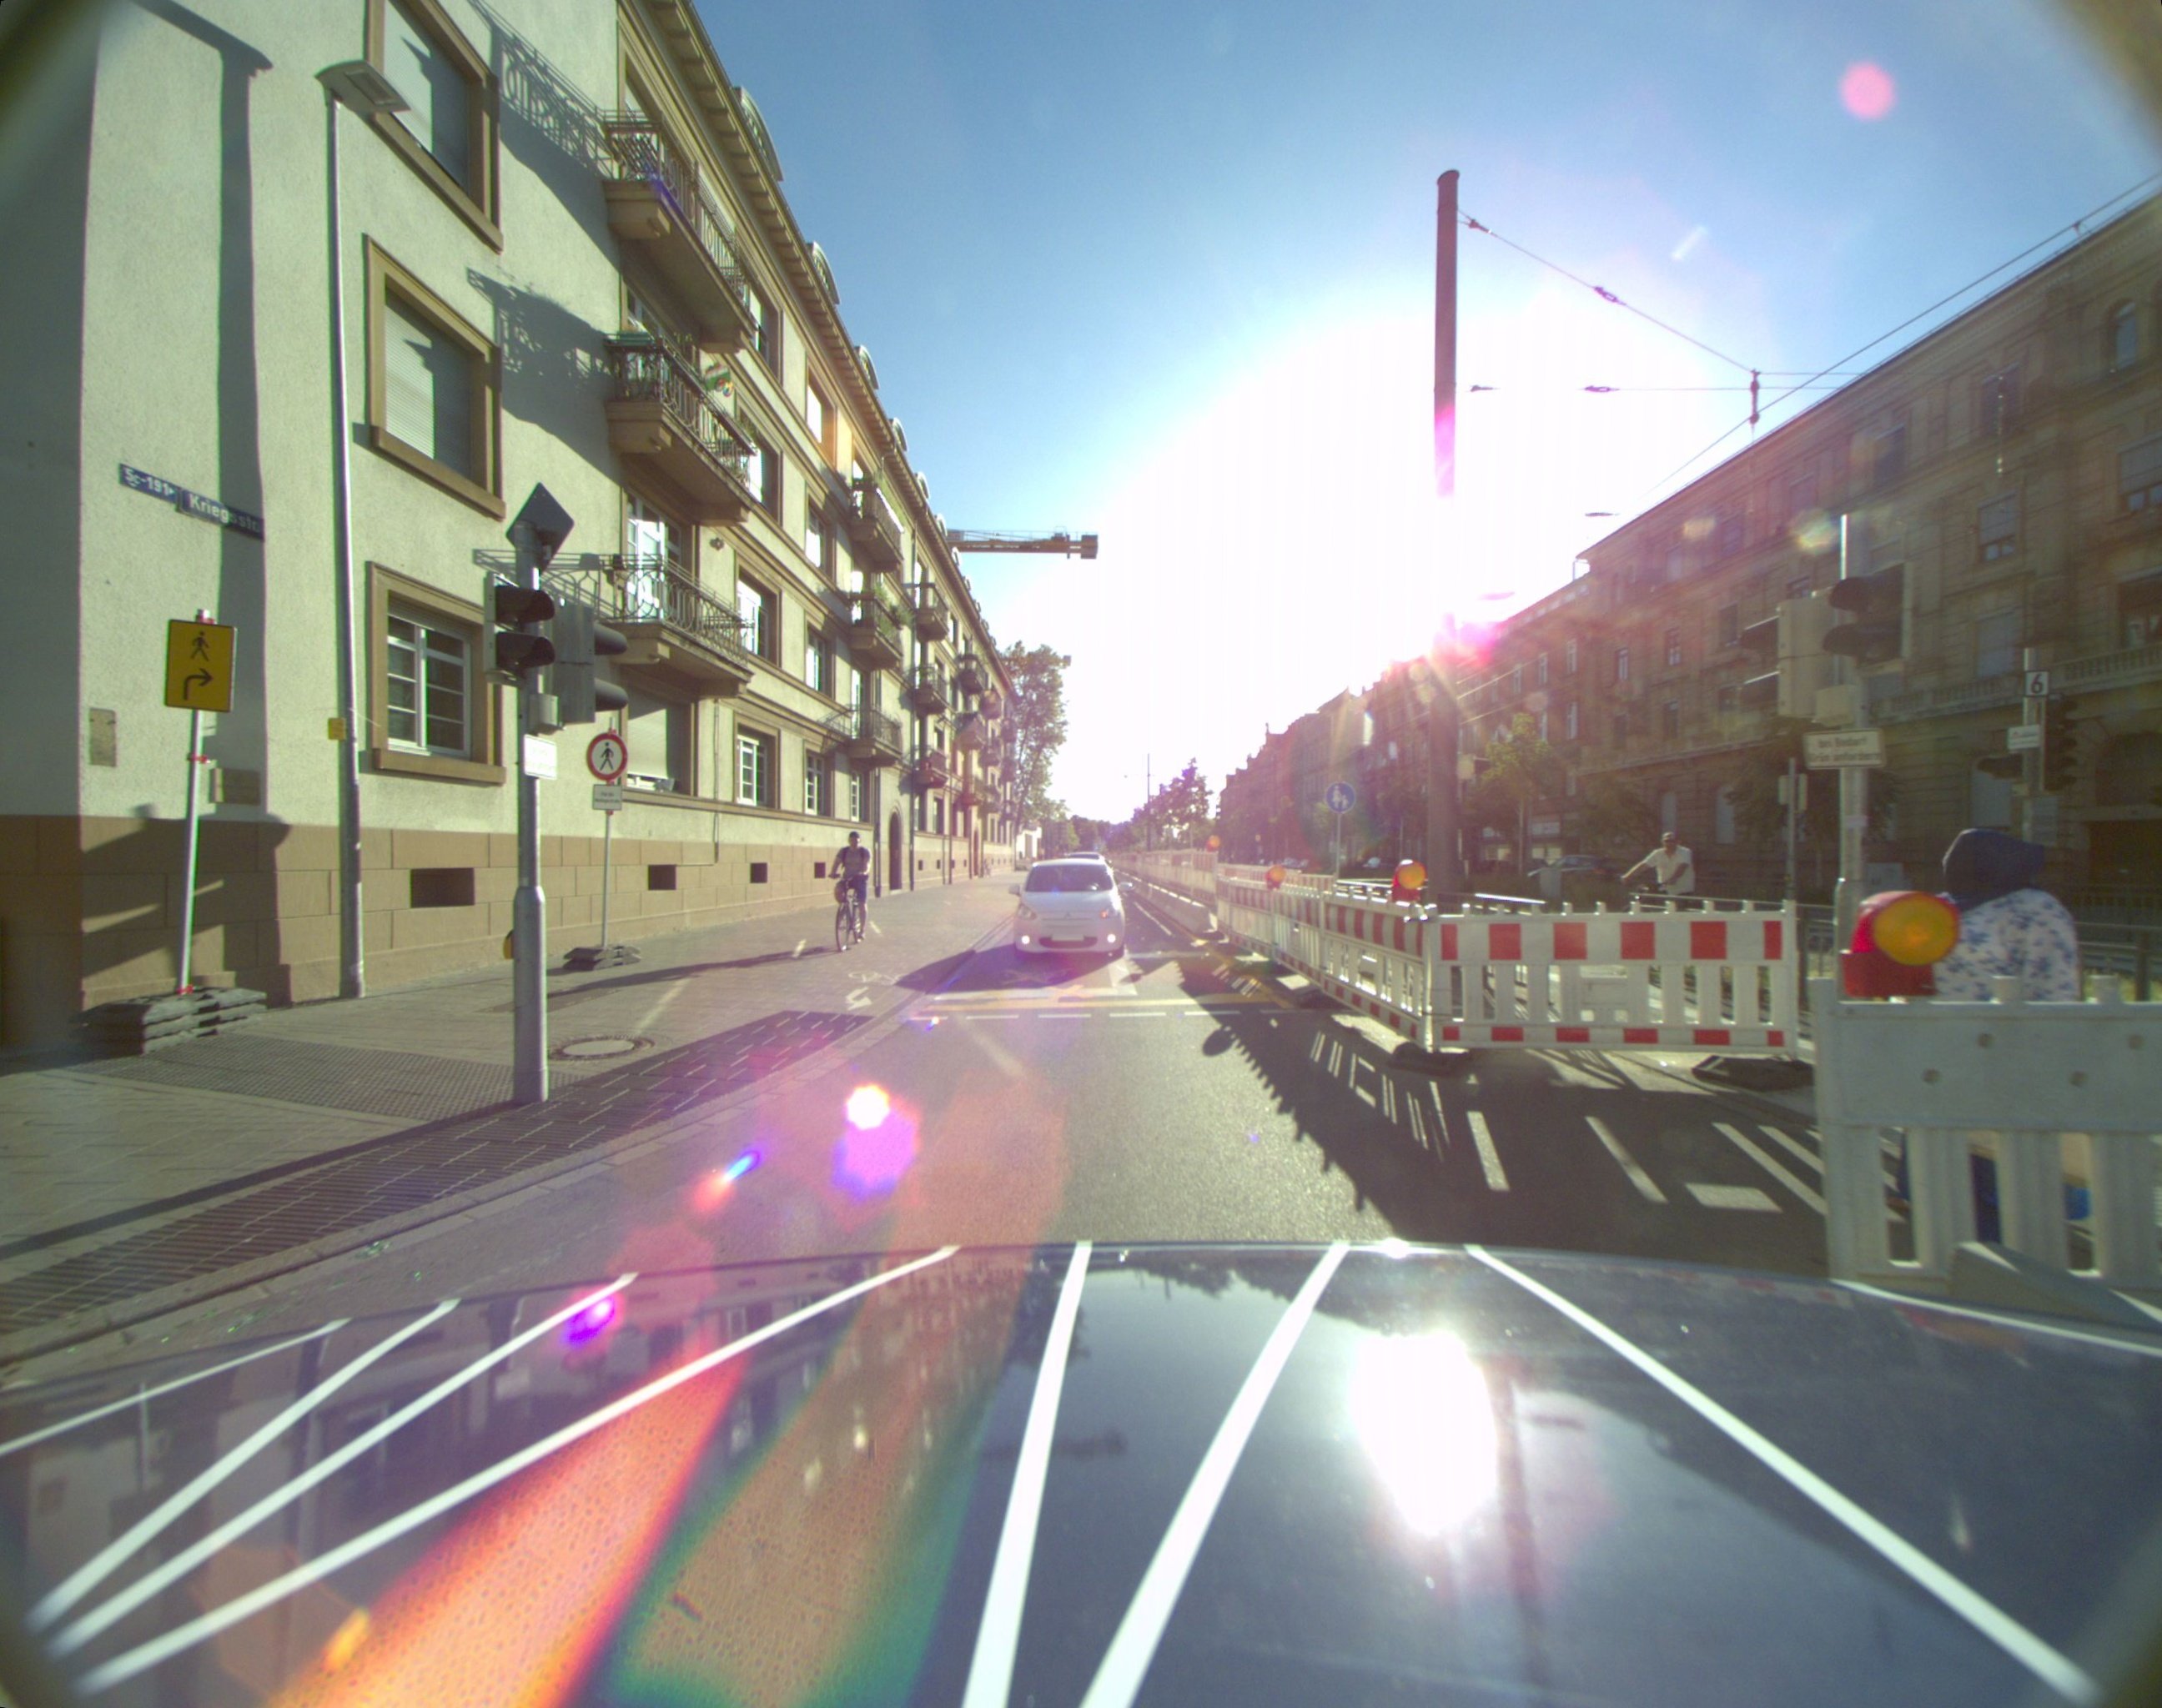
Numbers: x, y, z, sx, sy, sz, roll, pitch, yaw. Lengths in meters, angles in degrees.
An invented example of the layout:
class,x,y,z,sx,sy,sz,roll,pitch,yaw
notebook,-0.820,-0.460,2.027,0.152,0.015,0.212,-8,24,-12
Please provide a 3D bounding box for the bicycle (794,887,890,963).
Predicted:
class,x,y,z,sx,sy,sz,roll,pitch,yaw
bicycle,-3.582,1.034,11.618,0.769,0.947,2.198,0,0,0

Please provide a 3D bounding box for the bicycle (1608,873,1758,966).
class,x,y,z,sx,sy,sz,roll,pitch,yaw
bicycle,8.479,0.869,10.690,2.000,1.147,0.854,-1,1,-25

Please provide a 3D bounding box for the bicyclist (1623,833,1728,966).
class,x,y,z,sx,sy,sz,roll,pitch,yaw
bicyclist,8.332,0.602,10.668,0.886,1.763,0.854,-1,1,-25

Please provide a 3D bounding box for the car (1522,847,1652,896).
class,x,y,z,sx,sy,sz,roll,pitch,yaw
car,18.099,0.573,27.480,1.800,1.630,4.476,0,1,1

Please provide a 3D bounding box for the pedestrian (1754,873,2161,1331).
class,x,y,z,sx,sy,sz,roll,pitch,yaw
pedestrian,3.414,0.811,2.922,0.791,1.449,0.946,0,1,-1

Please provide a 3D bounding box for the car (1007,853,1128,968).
class,x,y,z,sx,sy,sz,roll,pitch,yaw
car,-0.152,0.790,12.806,1.634,1.500,4.349,-2,1,1

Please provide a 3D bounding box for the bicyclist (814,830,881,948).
class,x,y,z,sx,sy,sz,roll,pitch,yaw
bicyclist,-3.579,0.521,11.718,0.734,1.753,0.937,0,1,0

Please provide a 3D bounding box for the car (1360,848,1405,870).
class,x,y,z,sx,sy,sz,roll,pitch,yaw
car,23.901,0.394,60.418,1.943,1.648,4.545,-2,0,2

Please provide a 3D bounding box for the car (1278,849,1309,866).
class,x,y,z,sx,sy,sz,roll,pitch,yaw
car,23.218,0.395,83.153,1.998,1.688,4.887,-2,0,0

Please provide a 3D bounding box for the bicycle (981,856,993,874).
class,x,y,z,sx,sy,sz,roll,pitch,yaw
bicycle,-5.946,0.702,48.053,0.419,1.089,2.198,0,0,1

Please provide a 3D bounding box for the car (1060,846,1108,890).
class,x,y,z,sx,sy,sz,roll,pitch,yaw
car,0.132,0.522,32.057,1.900,1.730,3.999,0,1,0

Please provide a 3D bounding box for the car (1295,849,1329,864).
class,x,y,z,sx,sy,sz,roll,pitch,yaw
car,23.195,0.231,76.471,1.998,1.429,4.308,-2,0,0

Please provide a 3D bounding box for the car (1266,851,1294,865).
class,x,y,z,sx,sy,sz,roll,pitch,yaw
car,23.368,0.451,89.429,1.998,1.529,4.984,-2,0,1
